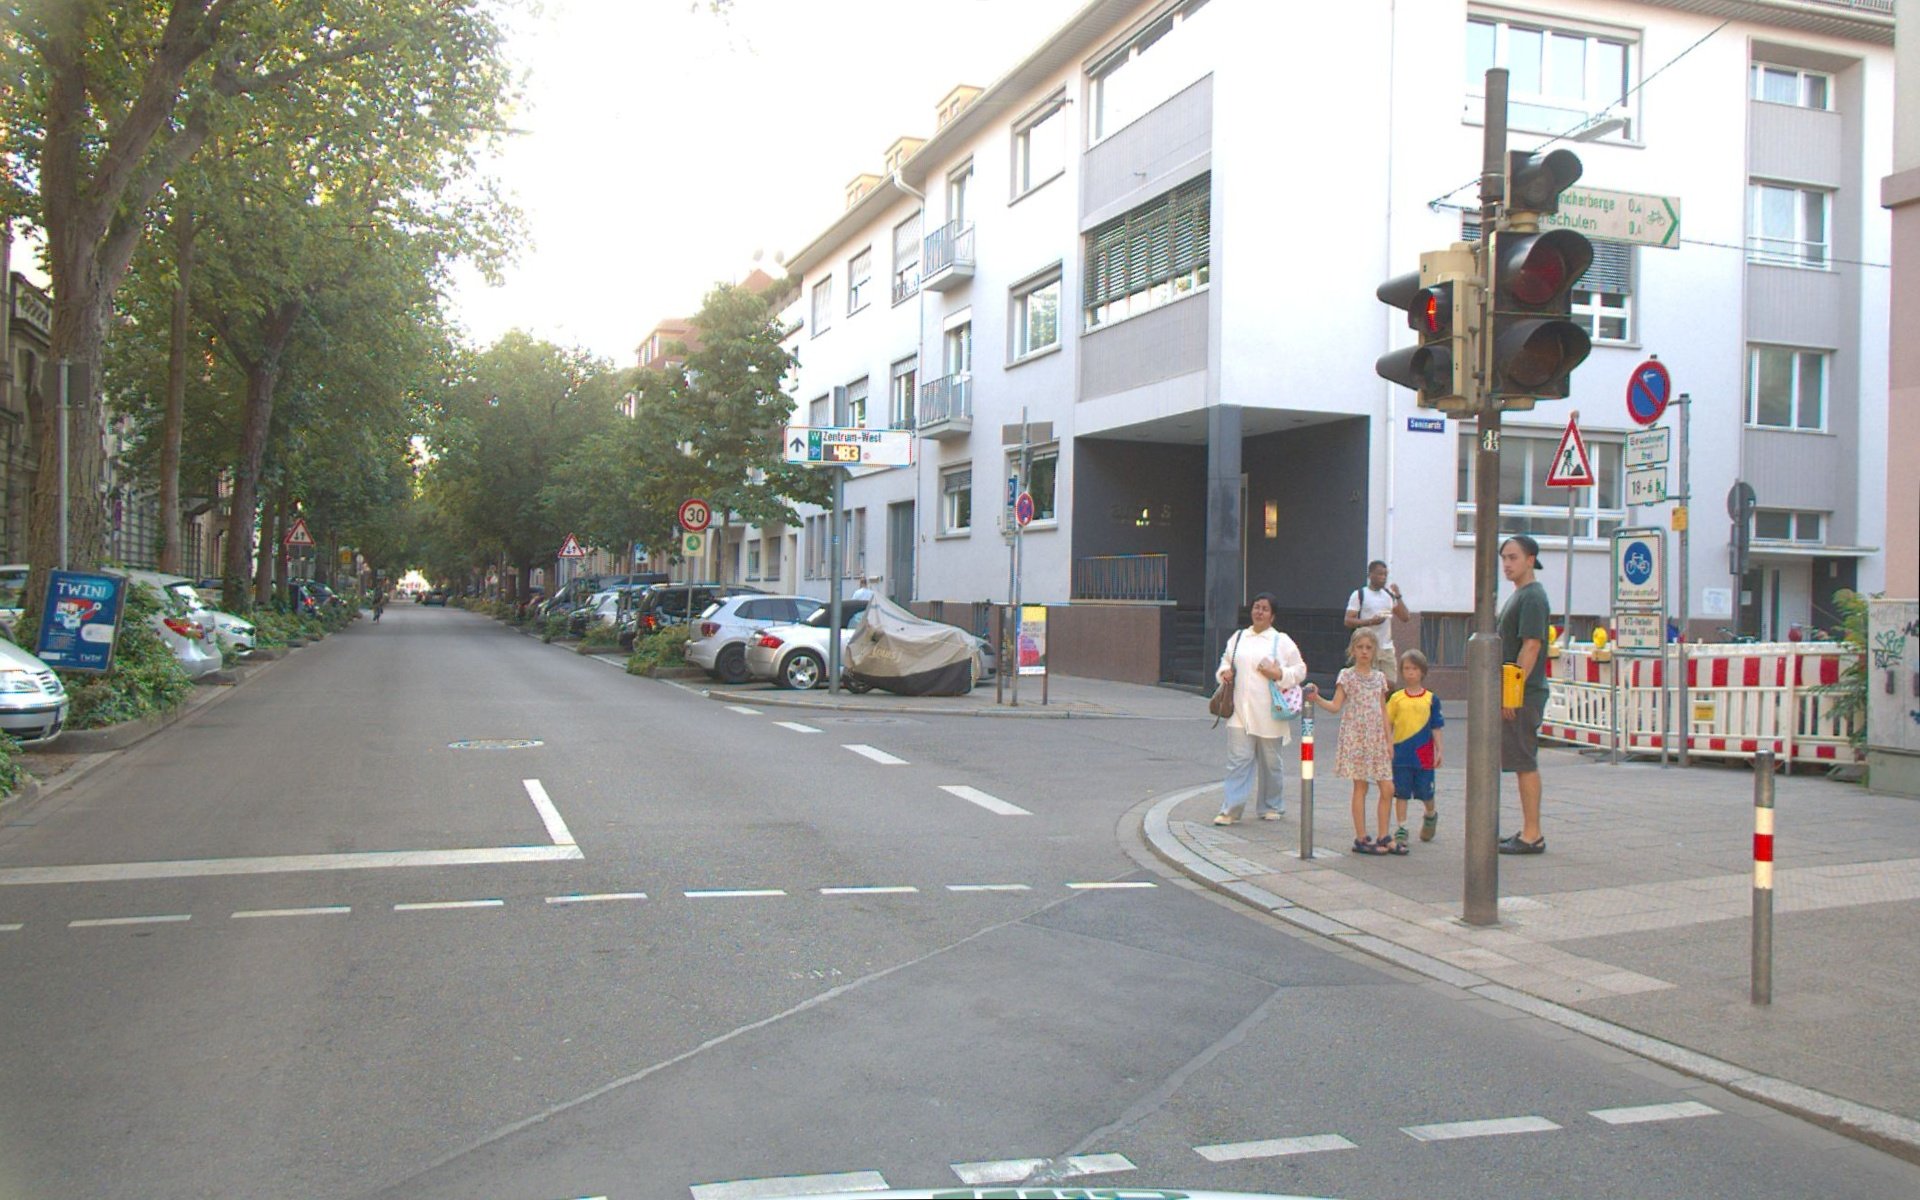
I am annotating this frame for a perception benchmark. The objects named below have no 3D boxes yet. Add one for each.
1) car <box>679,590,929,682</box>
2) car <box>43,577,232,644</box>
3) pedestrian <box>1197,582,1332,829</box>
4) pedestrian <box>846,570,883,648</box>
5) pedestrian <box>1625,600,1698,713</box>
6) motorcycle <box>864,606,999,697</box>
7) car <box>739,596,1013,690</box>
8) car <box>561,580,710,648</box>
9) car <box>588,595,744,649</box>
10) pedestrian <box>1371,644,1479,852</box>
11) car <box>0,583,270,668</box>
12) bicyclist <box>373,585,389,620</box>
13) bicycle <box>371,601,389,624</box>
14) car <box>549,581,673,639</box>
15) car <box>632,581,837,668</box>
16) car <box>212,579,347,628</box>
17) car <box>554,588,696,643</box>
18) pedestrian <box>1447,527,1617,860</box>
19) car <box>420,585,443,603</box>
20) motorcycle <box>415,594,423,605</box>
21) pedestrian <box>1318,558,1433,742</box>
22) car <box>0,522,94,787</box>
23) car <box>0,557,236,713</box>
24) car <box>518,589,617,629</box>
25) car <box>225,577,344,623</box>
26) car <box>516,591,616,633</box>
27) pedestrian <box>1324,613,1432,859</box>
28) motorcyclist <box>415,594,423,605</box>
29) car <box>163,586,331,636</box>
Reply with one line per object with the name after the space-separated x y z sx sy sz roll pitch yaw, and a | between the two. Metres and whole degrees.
-2.655 0.591 27.994 3.953 1.467 1.698 0 0 -19 | car
-20.562 0.272 41.500 3.976 1.618 1.824 1 0 -18 | car
1.989 0.652 10.744 0.757 1.527 0.802 0 0 19 | pedestrian
-2.210 0.205 38.090 0.692 1.782 0.697 2 0 -15 | pedestrian
9.409 0.746 22.200 0.726 1.492 0.559 1 -1 -18 | pedestrian
-0.394 0.696 22.650 1.767 1.220 0.611 0 0 -10 | motorcycle
-1.317 0.644 25.675 3.952 1.366 1.698 0 0 -18 | car
-9.188 0.394 46.765 3.953 1.847 1.698 0 0 -19 | car
-7.970 0.588 44.761 3.953 1.434 1.698 0 0 -19 | car
2.763 0.856 9.886 0.553 1.140 0.838 0 1 11 | pedestrian
-14.440 0.435 28.589 4.477 1.396 1.824 1 0 -18 | car
-24.952 0.099 71.222 0.564 1.495 0.638 2 -1 -25 | bicyclist
-24.958 0.554 71.159 0.564 0.966 1.731 2 -1 -24 | bicycle
-11.913 0.347 56.495 3.953 1.862 1.698 1 0 -19 | car
-4.651 0.493 34.044 3.953 1.720 1.698 0 0 -19 | car
-25.359 0.147 61.769 4.477 1.721 1.824 1 0 -18 | car
-10.025 0.455 49.482 3.953 1.557 1.698 1 0 -19 | car
3.319 0.504 9.679 0.869 1.847 0.794 1 2 16 | pedestrian
-47.598 -0.542 149.008 1.798 1.589 4.005 2 -1 -19 | car
-65.083 -0.057 199.011 0.806 1.258 2.014 2 -1 -18 | motorcycle
4.363 0.509 17.414 0.755 1.873 0.939 2 0 -18 | pedestrian
-8.823 0.355 11.785 4.483 1.867 1.821 1 0 -22 | car
-10.873 0.376 18.992 4.477 1.718 1.824 1 0 -18 | car
-16.744 0.389 70.604 3.953 1.630 1.698 1 0 -19 | car
-28.577 -0.008 70.066 4.477 1.833 1.824 1 0 -18 | car
-16.325 0.496 68.680 3.909 1.605 1.904 2 -1 -13 | car
2.401 0.762 9.534 0.494 1.359 0.541 1 0 4 | pedestrian
-65.071 -0.058 198.980 0.806 1.258 0.846 2 -1 -19 | motorcyclist
-21.420 0.322 49.871 4.477 1.434 1.824 1 0 -18 | car
